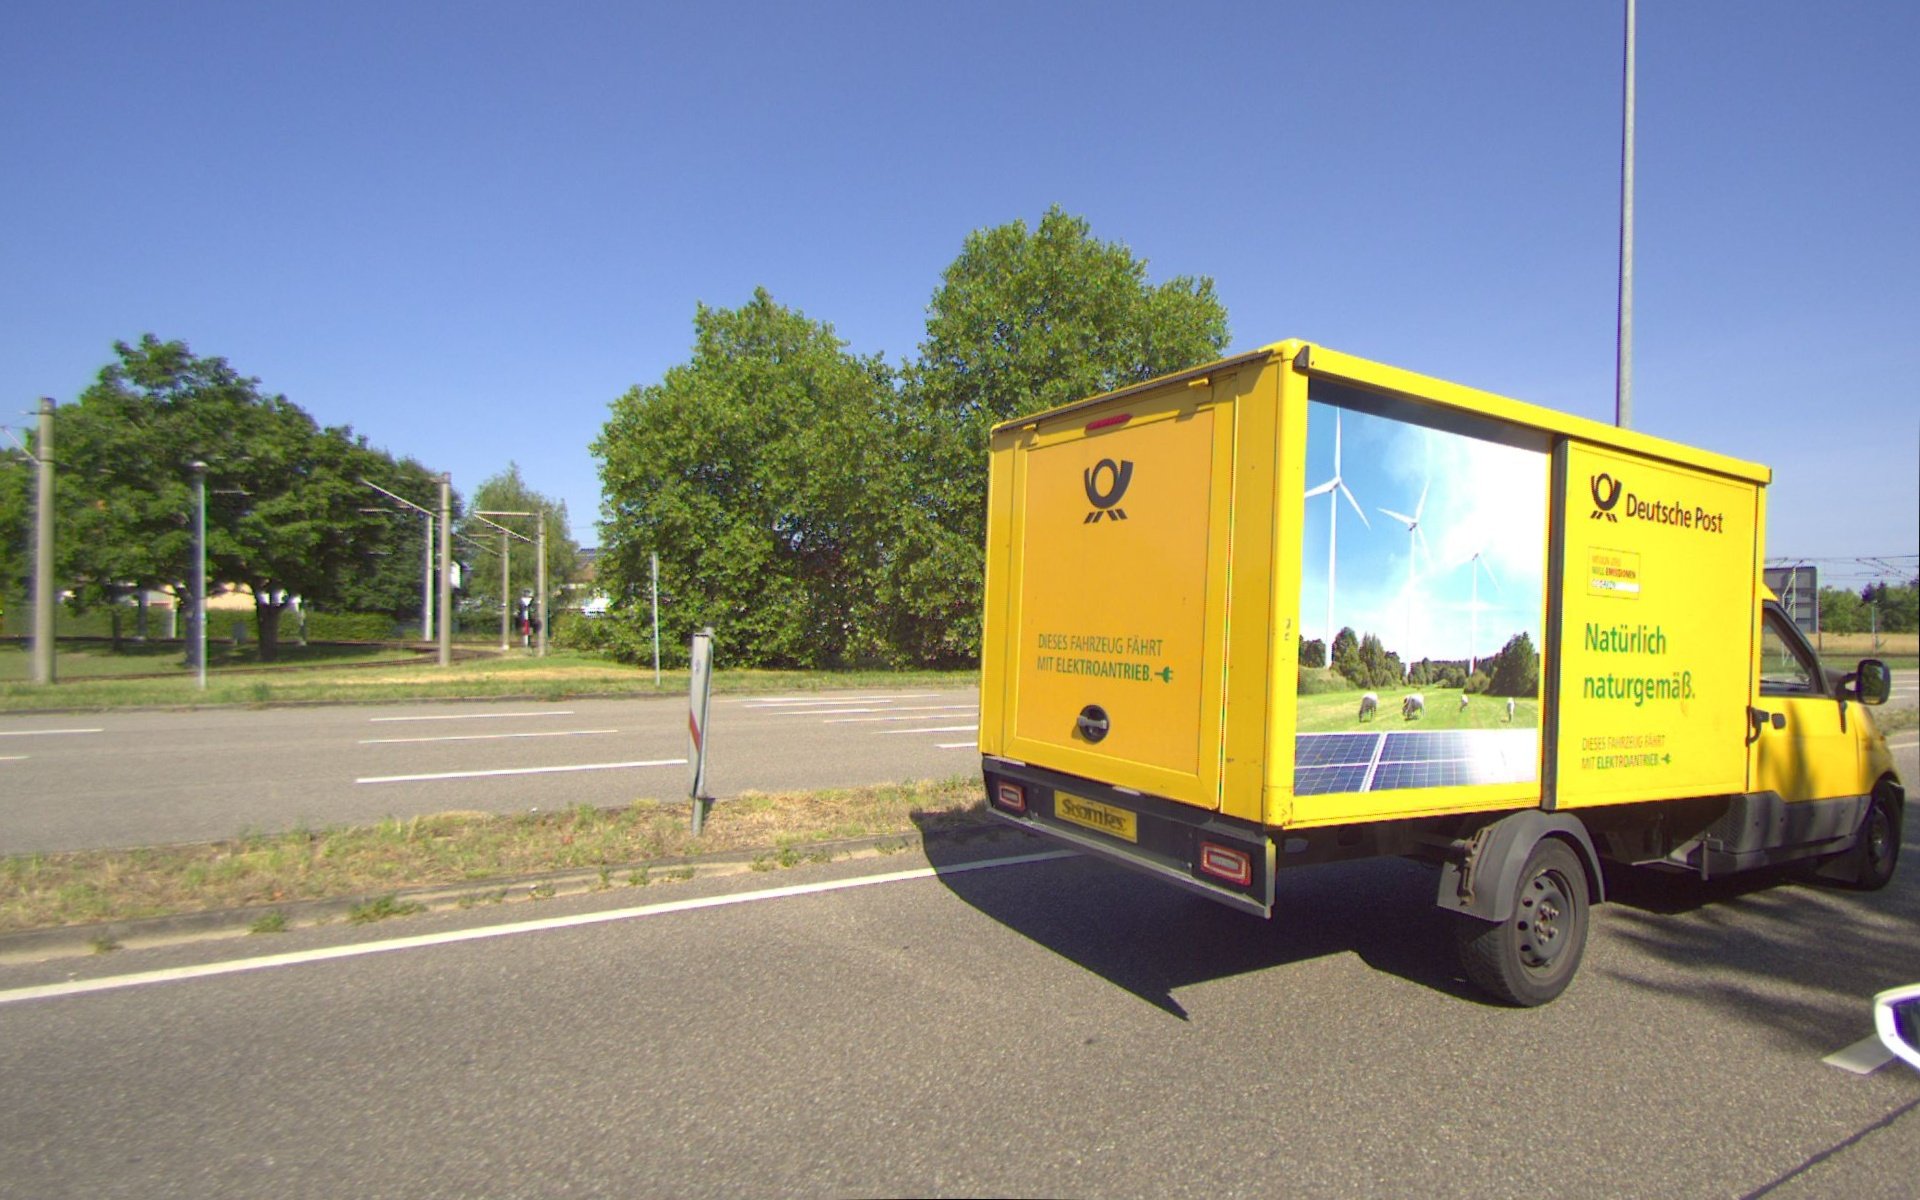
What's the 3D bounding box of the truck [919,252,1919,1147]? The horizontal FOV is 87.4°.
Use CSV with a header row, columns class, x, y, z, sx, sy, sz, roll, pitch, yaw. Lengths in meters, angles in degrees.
class,x,y,z,sx,sy,sz,roll,pitch,yaw
truck,2.850,0.338,5.239,5.850,2.490,2.101,1,-1,-32
